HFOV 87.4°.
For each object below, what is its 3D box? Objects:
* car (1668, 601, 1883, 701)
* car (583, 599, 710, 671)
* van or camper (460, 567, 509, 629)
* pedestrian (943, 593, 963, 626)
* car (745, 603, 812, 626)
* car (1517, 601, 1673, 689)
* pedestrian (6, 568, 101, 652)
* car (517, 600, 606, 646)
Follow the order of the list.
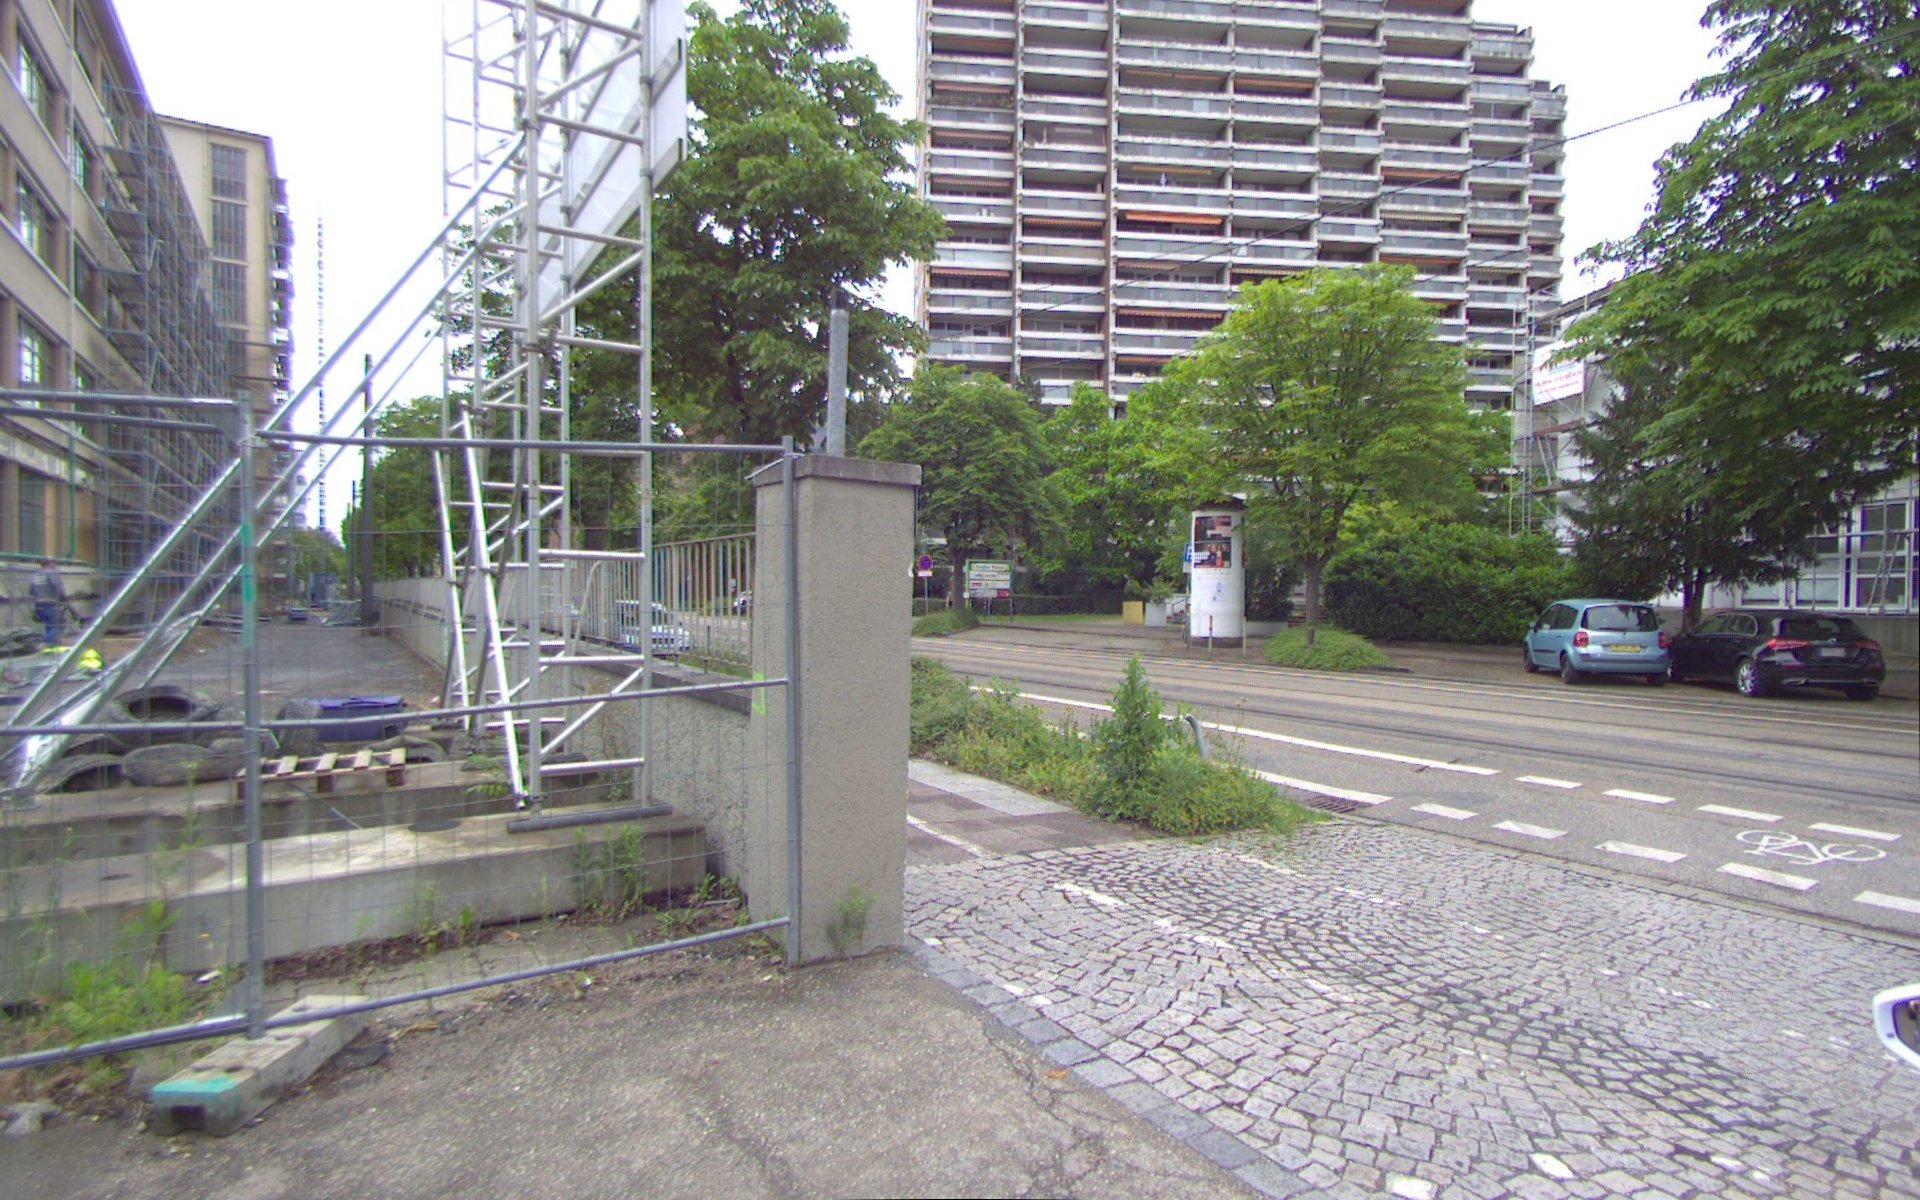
[{"bbox_3d":[13.889,0.805,17.342,1.586,1.531,3.339,0,0,13],"label":"car"},{"bbox_3d":[-7.148,0.717,22.659,1.813,1.437,3.965,1,0,-32],"label":"car"},{"bbox_3d":[-22.474,-0.091,47.479,1.974,2.789,3.973,1,0,-26],"label":"van or camper"},{"bbox_3d":[-0.326,0.447,47.173,0.838,1.548,0.515,0,1,-44],"label":"pedestrian"},{"bbox_3d":[-10.216,0.825,56.659,3.523,1.222,1.505,1,0,-2],"label":"car"},{"bbox_3d":[12.425,0.813,19.876,1.586,1.557,3.339,1,0,13],"label":"car"},{"bbox_3d":[-16.253,0.177,18.042,0.968,1.457,0.926,0,0,-21],"label":"pedestrian"},{"bbox_3d":[-12.663,0.681,31.819,1.978,1.328,3.965,0,0,-32],"label":"car"}]
